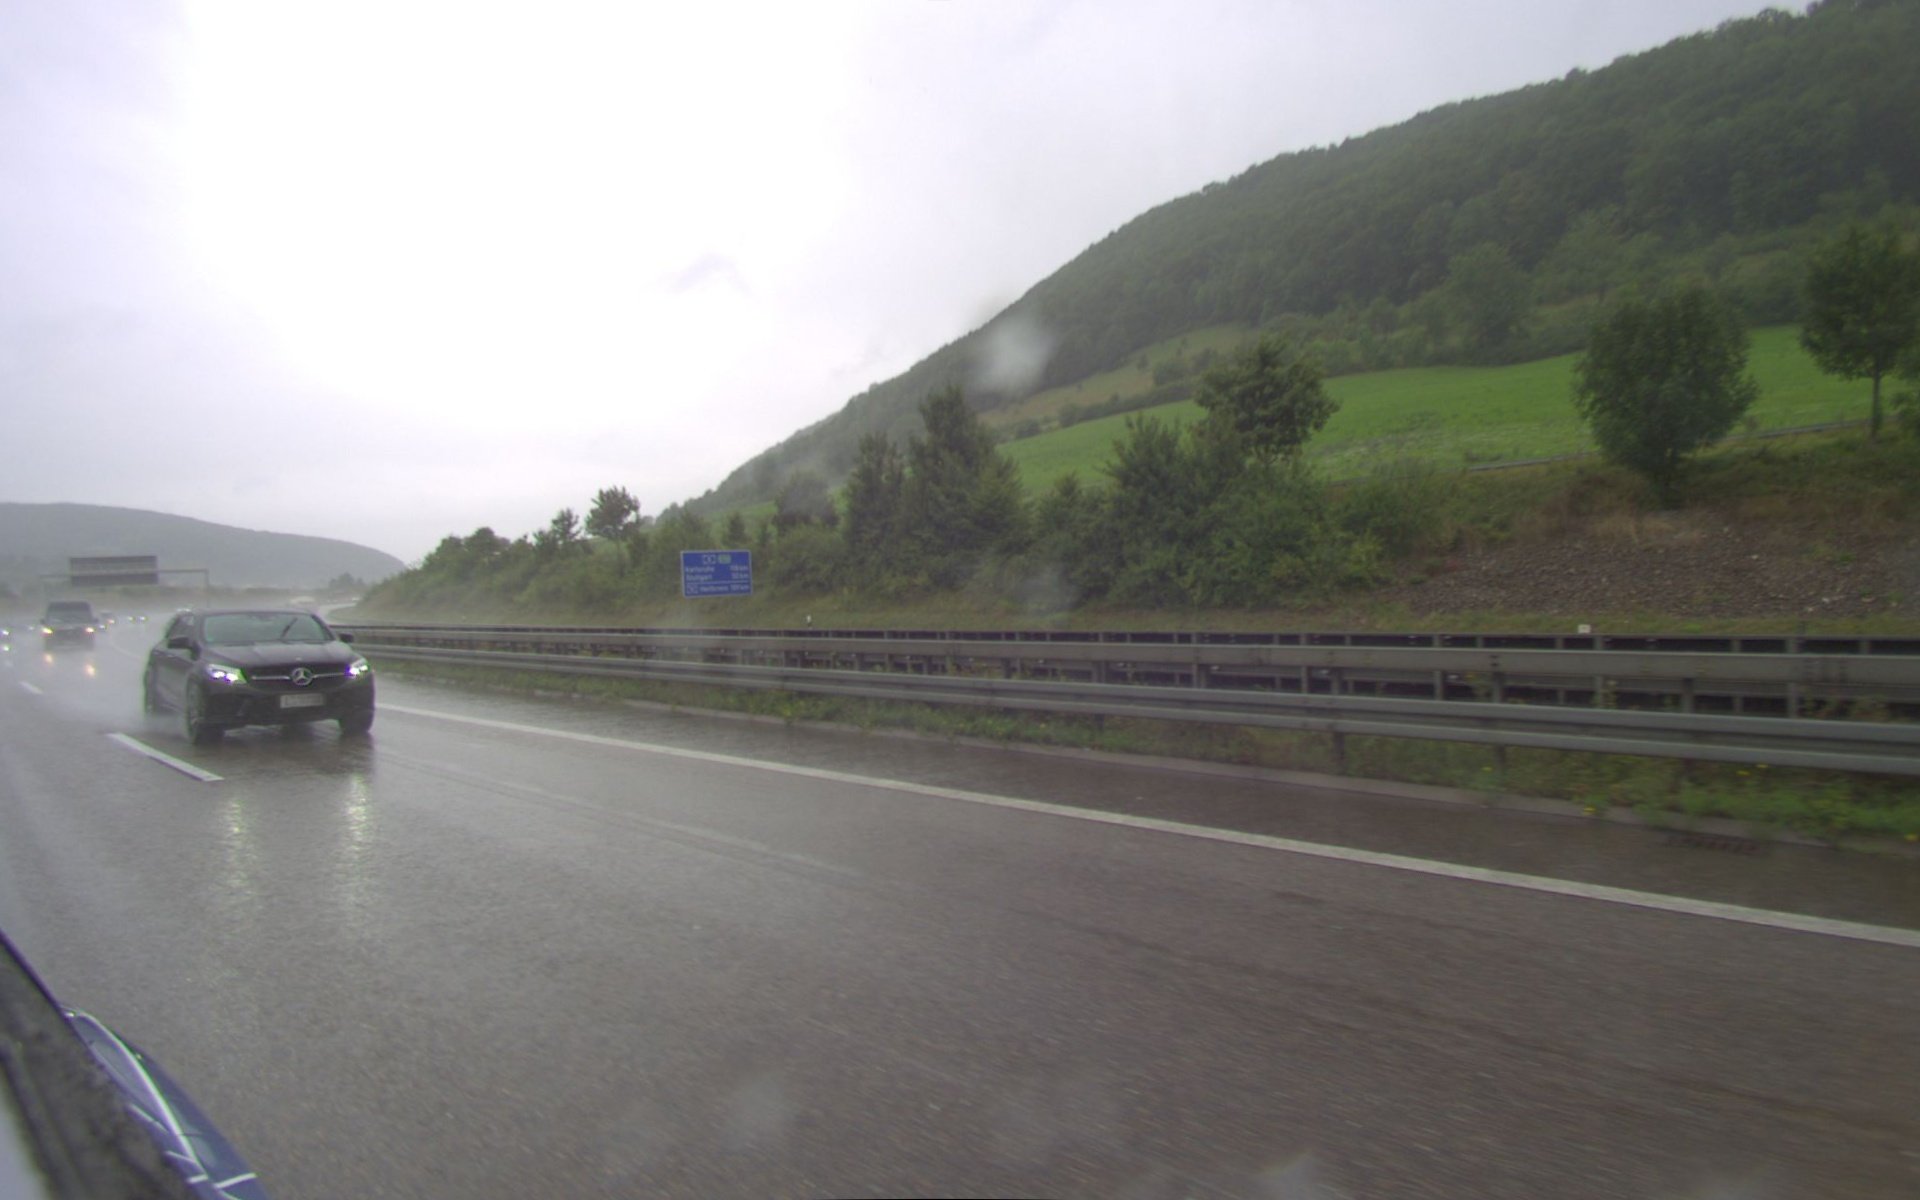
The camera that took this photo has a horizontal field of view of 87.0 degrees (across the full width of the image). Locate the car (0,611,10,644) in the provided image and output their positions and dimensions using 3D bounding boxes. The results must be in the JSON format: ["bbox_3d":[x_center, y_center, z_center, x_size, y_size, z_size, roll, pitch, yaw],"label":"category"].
[{"bbox_3d":[-62.656,1.804,65.302,1.810,2.028,3.942,-3,2,-44],"label":"car"}]

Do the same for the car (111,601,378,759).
[{"bbox_3d":[-9.446,0.918,13.282,3.743,1.715,1.793,-1,2,38],"label":"car"}]

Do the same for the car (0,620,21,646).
[{"bbox_3d":[-78.390,2.693,82.886,4.002,2.029,1.971,-2,-1,45],"label":"car"}]

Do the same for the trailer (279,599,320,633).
[{"bbox_3d":[-81.993,1.984,125.493,2.896,3.932,12.590,0,-1,-39],"label":"trailer"}]

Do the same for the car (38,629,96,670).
[{"bbox_3d":[-46.270,2.520,52.396,3.934,2.029,1.960,-2,-1,44],"label":"car"}]
